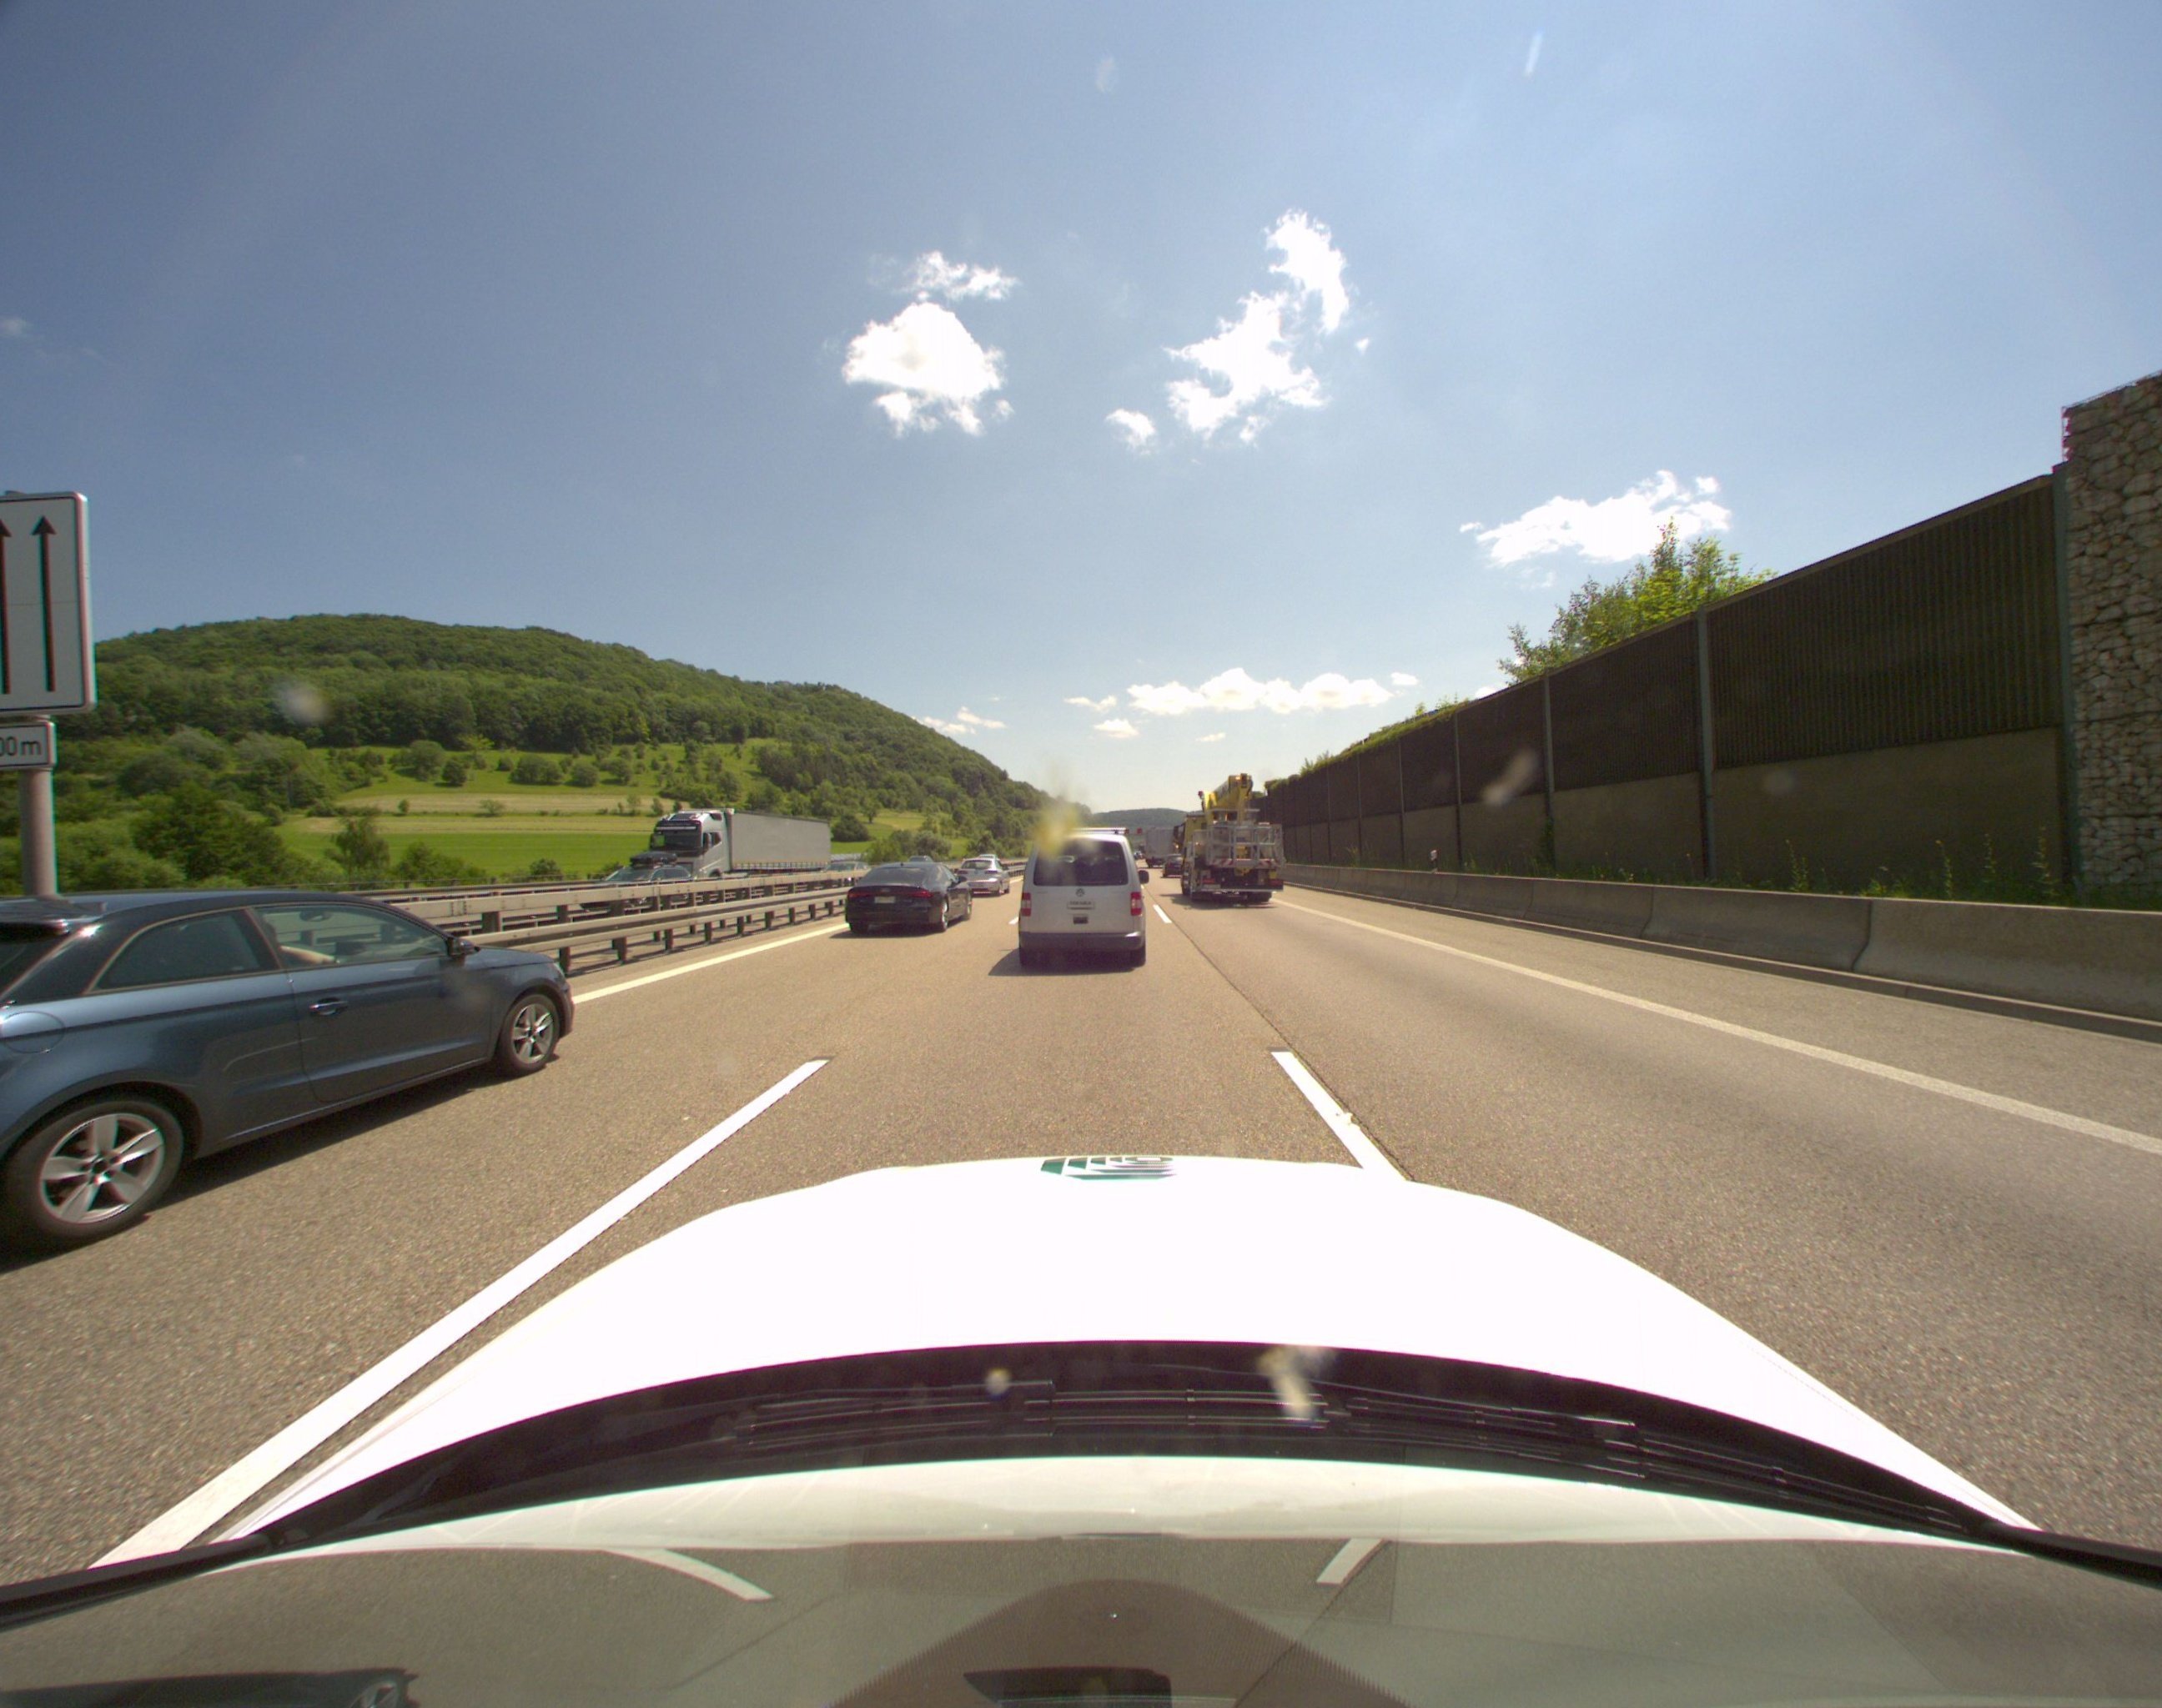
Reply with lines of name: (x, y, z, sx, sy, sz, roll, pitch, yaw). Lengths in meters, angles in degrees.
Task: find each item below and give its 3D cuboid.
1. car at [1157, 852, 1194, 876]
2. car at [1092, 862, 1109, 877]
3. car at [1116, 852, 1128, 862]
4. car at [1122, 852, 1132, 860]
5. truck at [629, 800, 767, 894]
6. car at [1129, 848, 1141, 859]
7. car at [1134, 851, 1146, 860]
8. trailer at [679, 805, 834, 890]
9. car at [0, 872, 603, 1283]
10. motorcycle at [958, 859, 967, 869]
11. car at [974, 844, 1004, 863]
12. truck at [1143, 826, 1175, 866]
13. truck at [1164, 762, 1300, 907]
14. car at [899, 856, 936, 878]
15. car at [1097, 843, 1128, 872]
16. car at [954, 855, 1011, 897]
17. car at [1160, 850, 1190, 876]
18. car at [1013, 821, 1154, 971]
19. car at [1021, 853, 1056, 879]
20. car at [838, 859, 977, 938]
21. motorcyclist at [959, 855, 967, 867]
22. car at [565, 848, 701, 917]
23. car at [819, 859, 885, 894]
car: (5.946, 0.619, 51.558, 1.781, 1.458, 3.769, -1, 0, -1)
car: (2.595, 2.011, 106.275, 2.106, 1.827, 4.002, 0, 0, 2)
car: (8.265, 0.600, 164.084, 2.108, 1.827, 3.998, 0, 0, -1)
car: (10.508, 0.478, 186.880, 2.108, 1.827, 3.998, 0, 0, -1)
truck: (-18.439, -0.289, 39.797, 3.266, 4.148, 6.957, -1, 0, 2)
car: (9.415, -0.079, 142.946, 1.986, 1.749, 4.002, 0, 0, 2)
car: (12.301, 0.340, 170.073, 2.108, 1.827, 3.998, 0, 0, -1)
trailer: (-18.074, -0.280, 46.951, 3.234, 4.204, 13.007, 0, 0, 2)
car: (-4.686, 0.859, 4.445, 1.682, 1.388, 4.001, -1, 0, 1)
motorcycle: (-14.322, 1.215, 98.528, 0.715, 1.149, 2.130, -1, 0, 1)
car: (-8.144, -0.056, 72.482, 1.986, 1.693, 4.512, 0, 0, 2)
truck: (7.850, -0.696, 82.502, 2.928, 3.823, 8.243, 0, 0, 3)
truck: (4.618, -0.556, 26.836, 2.696, 3.942, 8.718, -1, 0, -1)
car: (-12.787, 0.988, 64.058, 1.862, 1.618, 4.357, -1, 0, 2)
car: (2.258, 0.271, 58.495, 1.988, 1.975, 3.998, -1, 0, -1)
car: (-3.683, 0.785, 30.919, 1.690, 1.445, 3.861, -1, 0, 0)
car: (7.692, 0.735, 66.774, 1.987, 2.013, 4.000, -1, 0, 0)
car: (0.006, 0.532, 12.342, 1.751, 1.868, 3.998, -1, 0, -1)
car: (-2.560, 0.711, 49.893, 1.919, 1.499, 3.998, 0, 0, -1)
car: (-3.532, 0.835, 17.542, 1.794, 1.390, 4.970, -1, 0, 1)
motorcyclist: (-14.326, 0.839, 98.639, 0.841, 1.501, 0.838, -1, 0, 0)
car: (-14.812, 0.872, 27.239, 1.877, 2.118, 4.288, -1, 0, 4)
car: (-10.439, 0.986, 37.462, 1.761, 1.484, 4.026, -1, 0, 2)
